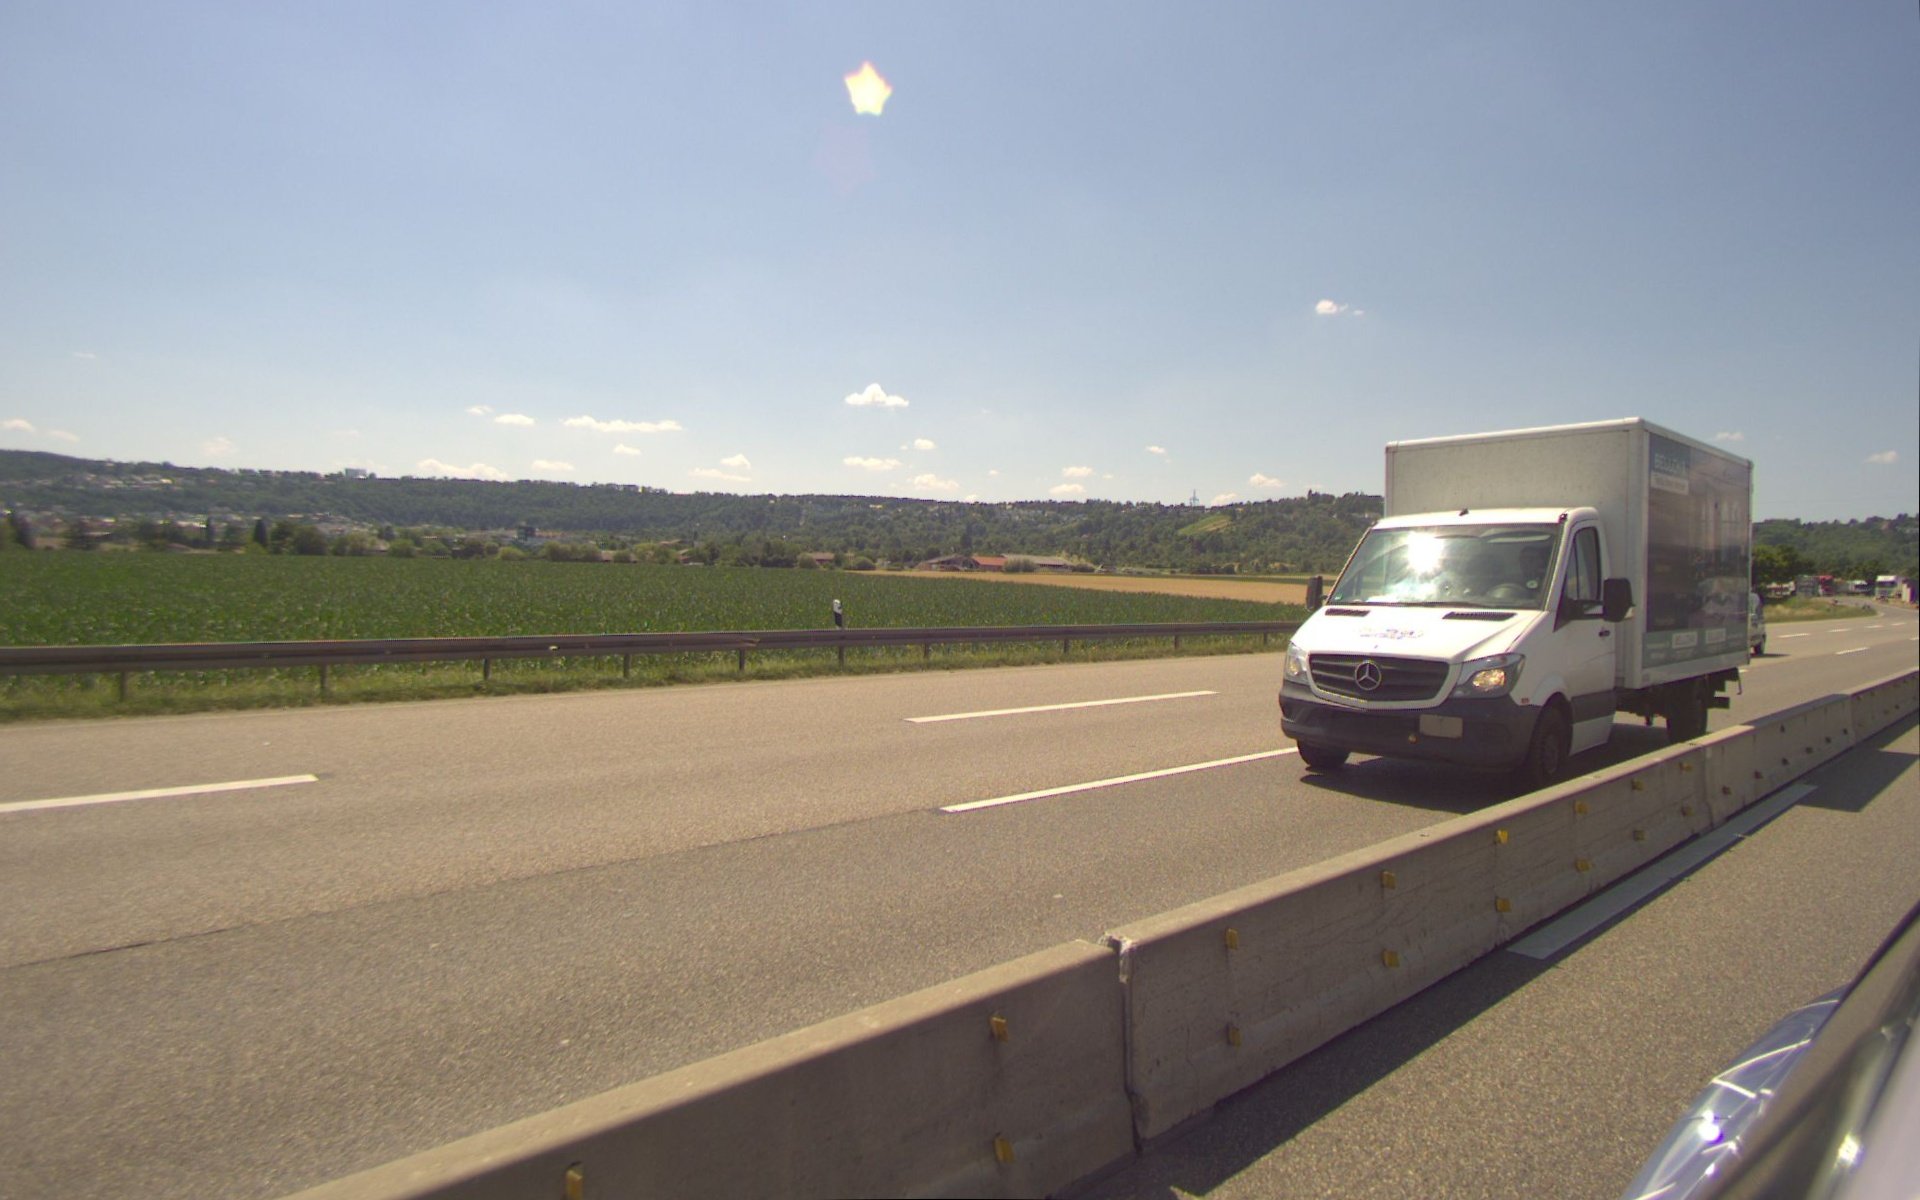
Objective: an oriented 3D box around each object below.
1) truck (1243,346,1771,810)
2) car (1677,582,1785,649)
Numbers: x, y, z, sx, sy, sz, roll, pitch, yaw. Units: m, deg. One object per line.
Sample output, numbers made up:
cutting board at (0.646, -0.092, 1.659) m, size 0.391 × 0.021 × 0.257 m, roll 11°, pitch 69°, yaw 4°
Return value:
truck at (5.655, -0.135, 9.828) m, size 6.632 × 3.106 × 2.325 m, roll 1°, pitch 0°, yaw -41°
car at (21.739, 0.414, 28.493) m, size 3.902 × 1.759 × 1.630 m, roll 1°, pitch 0°, yaw -40°
